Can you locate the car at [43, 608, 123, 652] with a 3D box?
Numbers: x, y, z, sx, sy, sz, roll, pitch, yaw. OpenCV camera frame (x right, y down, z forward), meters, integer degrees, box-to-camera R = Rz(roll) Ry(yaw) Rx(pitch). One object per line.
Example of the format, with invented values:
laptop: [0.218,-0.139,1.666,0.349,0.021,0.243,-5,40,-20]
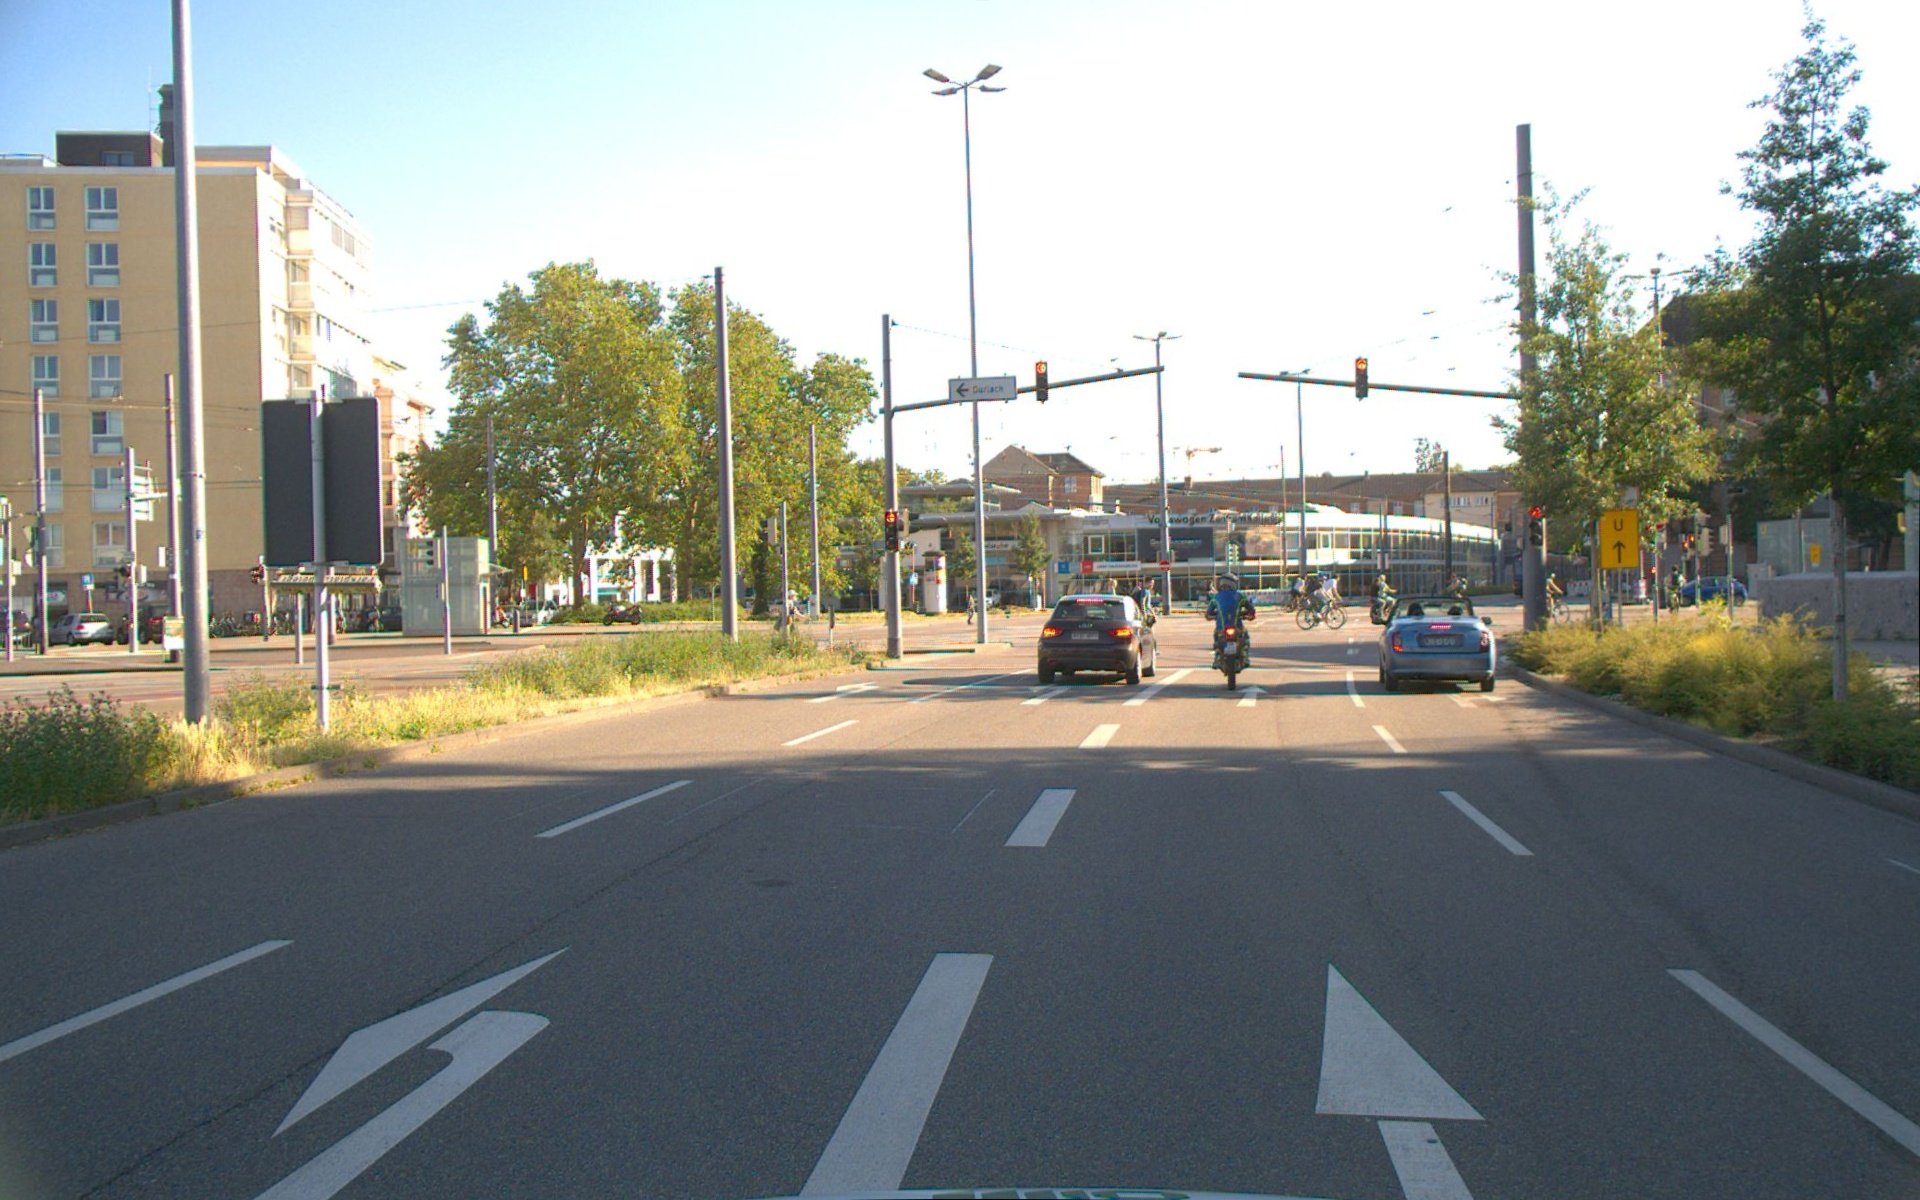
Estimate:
car: [-38.749,1.295,73.034,3.928,1.778,1.829,1,3,42]

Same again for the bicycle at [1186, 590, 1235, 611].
bicycle: [12.579,0.030,83.077,2.256,0.976,0.857,-2,2,-13]

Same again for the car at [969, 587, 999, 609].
car: [1.934,-0.145,130.894,1.951,1.561,4.004,-1,2,7]

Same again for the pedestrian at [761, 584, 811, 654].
pedestrian: [-4.141,0.442,39.405,1.070,1.634,0.699,-1,2,2]

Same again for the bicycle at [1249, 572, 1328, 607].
bicycle: [17.238,-0.554,86.796,3.910,1.719,1.138,-1,2,-6]

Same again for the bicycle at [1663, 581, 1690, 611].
bicycle: [26.285,-0.145,60.708,0.773,1.057,1.963,-3,-1,20]

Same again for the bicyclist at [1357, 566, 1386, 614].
bicyclist: [15.704,-0.371,63.114,0.580,1.809,0.853,-1,0,-45]

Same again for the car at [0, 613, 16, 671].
car: [-36.818,1.592,60.258,3.663,2.048,1.997,-1,2,-7]

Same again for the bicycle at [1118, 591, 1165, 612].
bicycle: [9.371,0.065,85.504,2.251,0.996,0.859,-1,2,-6]

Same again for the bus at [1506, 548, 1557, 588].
bus: [45.495,-2.584,131.535,2.309,2.933,9.566,0,2,28]

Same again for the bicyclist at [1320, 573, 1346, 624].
bicyclist: [12.869,-0.061,57.124,0.636,1.720,0.859,-1,2,-5]

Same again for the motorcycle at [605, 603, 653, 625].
motorcycle: [-16.737,0.709,83.604,2.238,1.072,0.687,-1,2,-1]

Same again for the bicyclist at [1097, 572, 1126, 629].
bicyclist: [4.754,0.008,51.961,0.731,1.720,0.859,-1,2,-8]

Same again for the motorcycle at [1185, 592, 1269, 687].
motorcycle: [4.189,0.588,25.752,1.072,1.401,2.655,0,0,14]

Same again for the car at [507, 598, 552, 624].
car: [-25.394,0.622,97.660,1.810,1.477,3.998,-1,0,-3]

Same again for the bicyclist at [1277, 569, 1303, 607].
bicyclist: [17.335,-0.644,86.813,1.049,1.933,1.122,-1,2,-5]

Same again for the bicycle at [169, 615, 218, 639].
bicycle: [-37.726,1.303,81.405,2.003,1.109,0.776,-2,0,-7]

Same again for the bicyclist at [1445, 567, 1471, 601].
bicyclist: [23.760,-0.772,78.883,0.905,1.587,0.962,-1,0,-3]

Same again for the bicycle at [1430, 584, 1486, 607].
bicycle: [23.736,-0.228,78.872,2.389,1.021,0.962,-1,0,-3]

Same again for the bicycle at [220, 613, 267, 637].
bicycle: [-35.740,1.233,82.506,2.003,1.109,0.776,-2,0,-7]

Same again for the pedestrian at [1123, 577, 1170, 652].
pedestrian: [4.331,0.329,38.513,0.816,1.701,0.693,-1,0,-26]

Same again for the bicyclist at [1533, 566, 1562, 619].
bicyclist: [19.515,-0.245,54.984,0.636,1.720,0.860,-1,2,-2]

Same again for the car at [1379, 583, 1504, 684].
car: [7.701,0.472,26.249,1.763,1.469,3.980,0,1,18]

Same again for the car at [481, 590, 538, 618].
car: [-33.365,0.258,122.484,3.932,1.889,1.841,-2,2,-23]

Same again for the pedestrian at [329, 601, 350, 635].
pedestrian: [-31.956,0.938,85.198,0.760,1.705,0.782,-1,0,-4]

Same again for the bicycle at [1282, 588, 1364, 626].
bicycle: [11.755,0.217,53.578,2.447,1.153,0.858,-1,2,-9]

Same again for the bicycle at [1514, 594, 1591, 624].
bicycle: [19.694,0.292,54.997,2.250,0.921,0.860,-1,2,-3]

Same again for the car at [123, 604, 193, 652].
car: [-35.735,1.219,73.672,1.837,1.889,3.941,-2,3,-41]

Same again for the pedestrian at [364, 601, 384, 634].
pedestrian: [-30.204,0.897,85.278,0.760,1.705,0.782,-1,0,-4]

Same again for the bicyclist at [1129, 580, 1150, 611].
bicyclist: [9.256,-0.249,85.487,0.906,1.586,0.859,-1,2,-6]

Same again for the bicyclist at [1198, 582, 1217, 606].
bicyclist: [12.412,-0.315,83.028,0.700,1.162,0.835,-1,2,-13]

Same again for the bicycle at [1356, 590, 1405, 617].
bicycle: [16.170,0.126,63.587,0.845,0.921,2.288,1,3,43]

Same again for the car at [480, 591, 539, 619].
car: [-32.714,0.340,120.061,3.932,1.889,1.841,-2,2,-23]

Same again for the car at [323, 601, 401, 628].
car: [-34.331,0.826,95.047,3.914,1.447,1.809,-2,0,-10]

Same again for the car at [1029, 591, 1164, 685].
car: [2.396,0.586,28.183,1.762,1.469,3.982,0,0,13]

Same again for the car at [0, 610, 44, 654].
car: [-41.908,1.368,72.681,3.932,1.749,1.828,1,3,44]

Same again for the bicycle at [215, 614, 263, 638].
bicycle: [-35.601,1.262,81.669,2.003,1.109,0.776,-2,0,-7]

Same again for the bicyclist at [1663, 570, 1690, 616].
bicyclist: [26.253,-0.251,60.636,0.773,1.621,0.947,-3,-1,21]

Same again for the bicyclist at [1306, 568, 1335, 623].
bicyclist: [11.671,-0.151,53.568,0.637,1.720,0.859,-1,2,-8]

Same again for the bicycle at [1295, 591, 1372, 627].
bicycle: [12.897,0.298,57.131,2.444,1.153,0.859,-1,2,-6]

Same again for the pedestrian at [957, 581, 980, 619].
pedestrian: [0.433,0.016,82.179,0.968,1.847,0.921,0,2,11]

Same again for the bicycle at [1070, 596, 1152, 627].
bicycle: [4.746,0.347,51.974,2.447,0.889,0.859,-1,2,-9]

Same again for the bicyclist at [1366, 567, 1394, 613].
bicyclist: [16.136,-0.398,63.567,0.845,1.720,0.647,1,2,44]

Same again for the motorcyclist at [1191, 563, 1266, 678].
motorcyclist: [4.184,0.313,25.736,1.072,1.751,0.937,0,0,14]

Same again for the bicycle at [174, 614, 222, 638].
bicycle: [-37.902,1.302,82.261,2.003,1.109,0.776,-2,0,-7]

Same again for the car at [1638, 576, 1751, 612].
car: [35.050,-0.287,78.971,4.505,1.622,1.954,-1,0,3]
